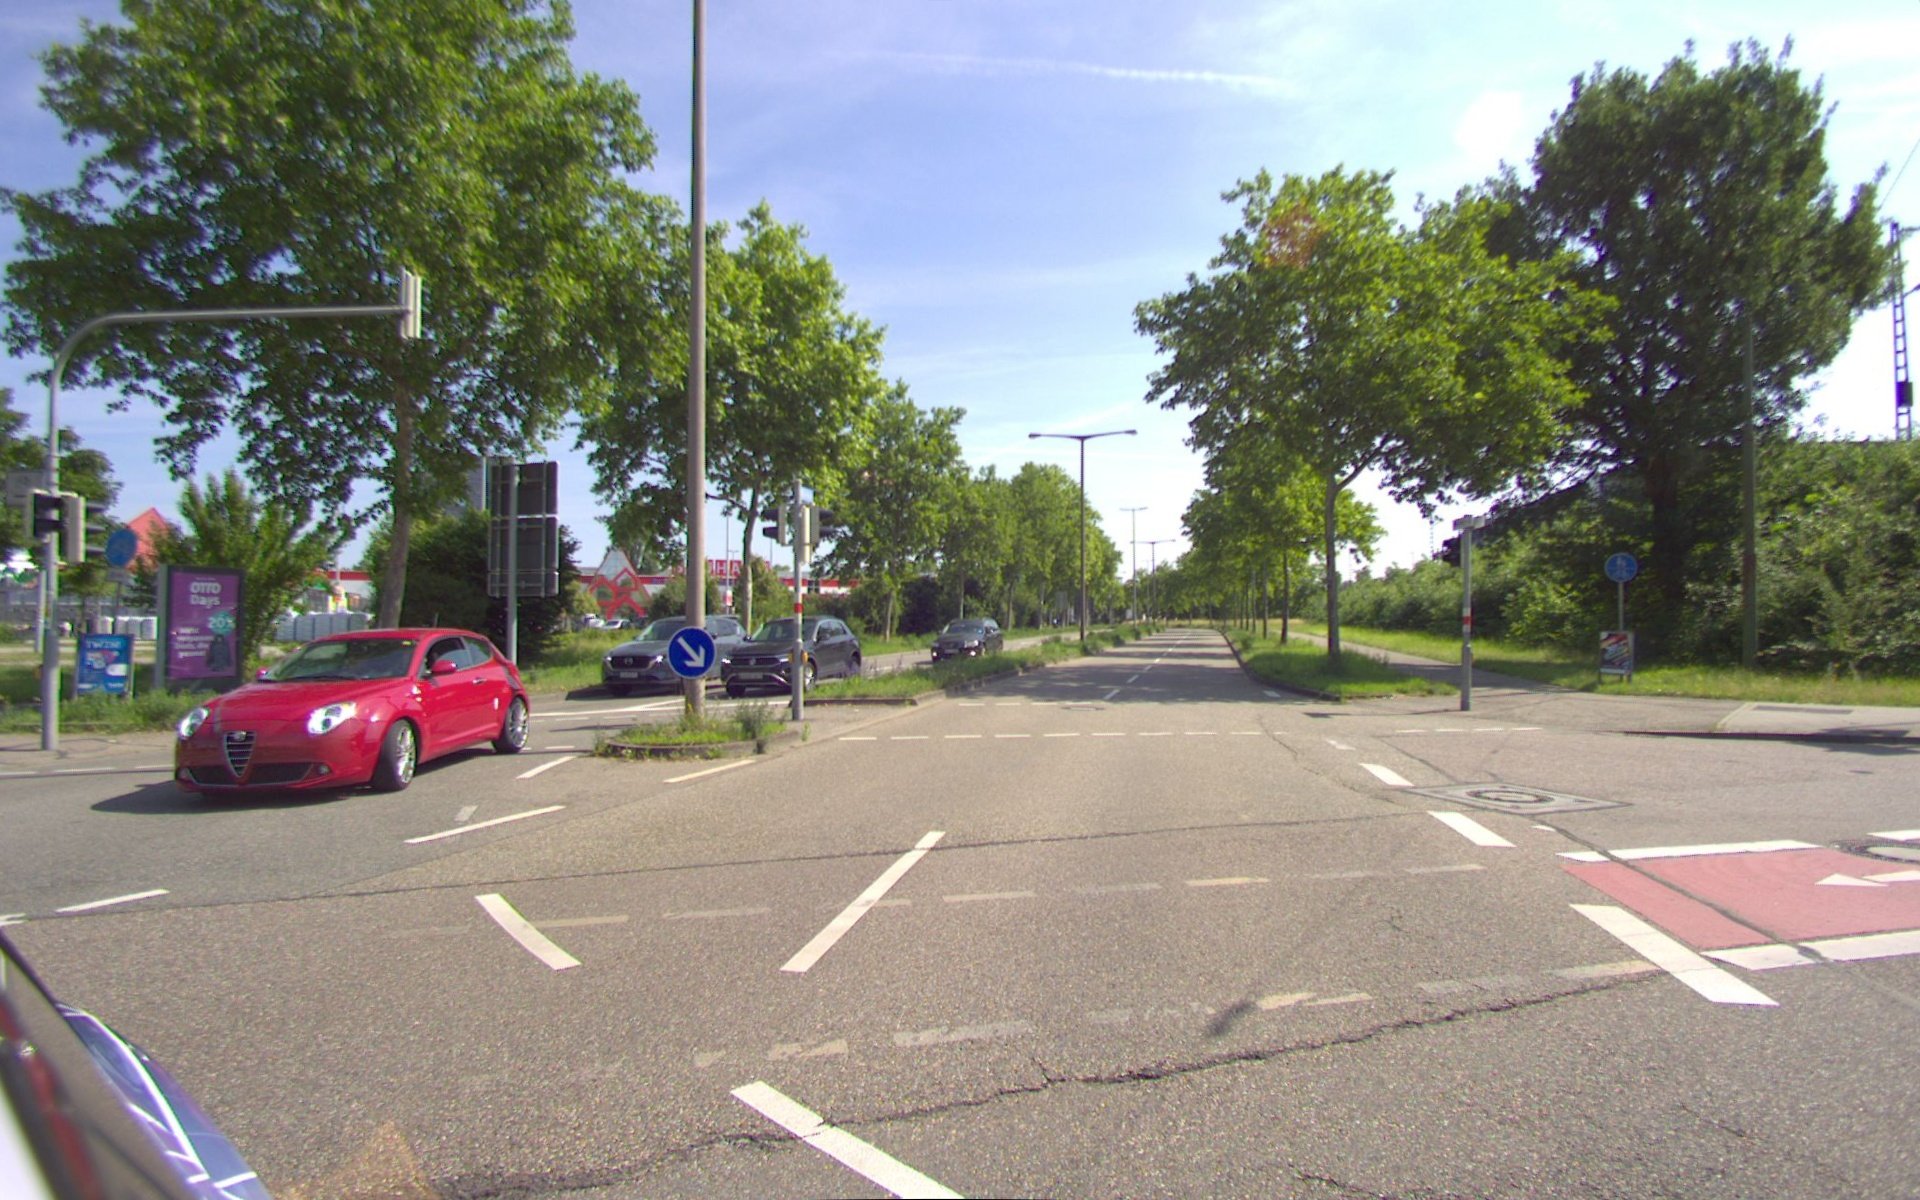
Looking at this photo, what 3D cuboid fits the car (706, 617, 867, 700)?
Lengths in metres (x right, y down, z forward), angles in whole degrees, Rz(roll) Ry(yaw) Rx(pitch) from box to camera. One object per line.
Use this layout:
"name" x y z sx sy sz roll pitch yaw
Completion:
"car" -3.525 1.155 21.373 1.858 1.557 4.062 -1 -1 14

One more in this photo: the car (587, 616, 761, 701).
"car" -6.220 1.218 22.608 1.754 1.671 4.476 -2 -1 14

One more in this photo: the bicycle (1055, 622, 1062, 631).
"bicycle" 15.358 4.125 157.667 0.681 1.247 1.925 0 -1 14

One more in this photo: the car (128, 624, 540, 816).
"car" -5.729 0.991 9.894 1.636 1.449 3.908 -2 -1 -1

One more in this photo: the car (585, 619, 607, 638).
"car" -31.339 2.467 86.994 1.661 1.586 4.013 0 -1 -21

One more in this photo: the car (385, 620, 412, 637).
"car" -53.933 2.730 97.257 1.661 1.586 4.013 0 -1 -21

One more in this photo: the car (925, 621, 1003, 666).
"car" 0.222 1.492 35.772 1.701 1.439 4.557 -2 -1 14
